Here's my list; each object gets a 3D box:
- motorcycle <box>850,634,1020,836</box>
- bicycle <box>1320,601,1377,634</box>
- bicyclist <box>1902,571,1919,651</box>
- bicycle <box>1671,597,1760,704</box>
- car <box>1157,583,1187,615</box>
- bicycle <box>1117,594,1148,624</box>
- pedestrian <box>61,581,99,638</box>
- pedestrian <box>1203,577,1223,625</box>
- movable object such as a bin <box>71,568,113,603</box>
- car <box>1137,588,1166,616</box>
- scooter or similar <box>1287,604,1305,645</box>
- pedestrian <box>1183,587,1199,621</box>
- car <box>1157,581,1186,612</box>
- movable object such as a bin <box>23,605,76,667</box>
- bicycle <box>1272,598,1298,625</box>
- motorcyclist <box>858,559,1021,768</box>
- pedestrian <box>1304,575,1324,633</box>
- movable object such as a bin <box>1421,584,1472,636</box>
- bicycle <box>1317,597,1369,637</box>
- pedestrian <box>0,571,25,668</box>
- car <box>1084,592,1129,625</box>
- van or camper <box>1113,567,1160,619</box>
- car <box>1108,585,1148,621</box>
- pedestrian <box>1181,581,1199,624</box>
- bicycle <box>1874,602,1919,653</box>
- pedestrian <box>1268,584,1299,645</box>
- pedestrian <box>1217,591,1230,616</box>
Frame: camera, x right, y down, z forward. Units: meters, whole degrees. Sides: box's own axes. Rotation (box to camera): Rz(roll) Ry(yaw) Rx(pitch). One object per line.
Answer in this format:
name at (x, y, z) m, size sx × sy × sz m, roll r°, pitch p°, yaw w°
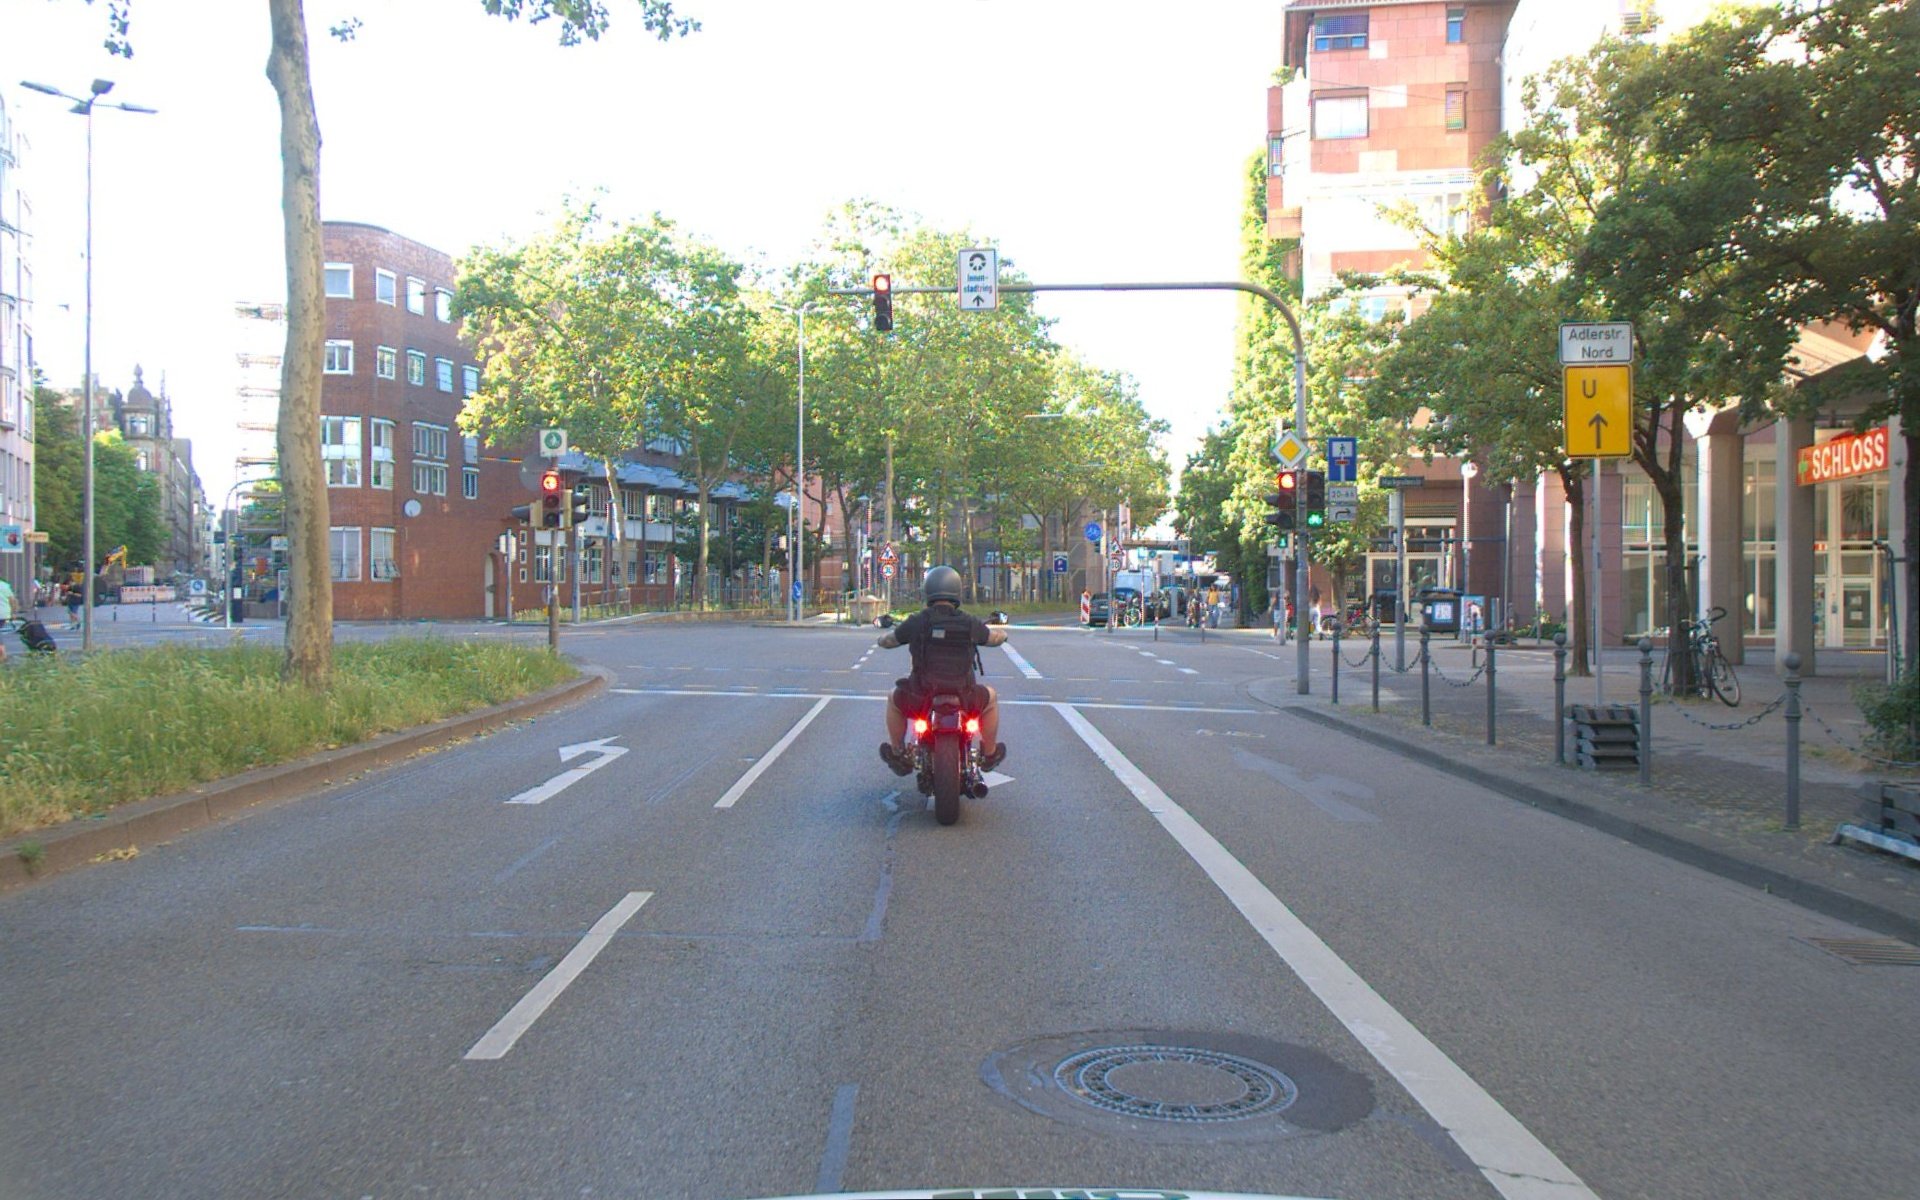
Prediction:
motorcycle at (-0.127, 0.817, 10.732) m, size 0.997 × 1.116 × 2.008 m, roll 0°, pitch 1°, yaw 1°
bicycle at (12.878, 0.570, 54.843) m, size 1.713 × 1.071 × 0.738 m, roll 0°, pitch 0°, yaw 28°
bicyclist at (22.034, 0.242, 37.649) m, size 0.807 × 1.801 × 0.789 m, roll 0°, pitch 0°, yaw 8°
bicycle at (9.384, 0.599, 20.601) m, size 0.608 × 1.247 × 1.928 m, roll 0°, pitch 0°, yaw 12°
car at (13.857, -0.093, 108.043) m, size 1.796 × 2.049 × 4.392 m, roll 0°, pitch 0°, yaw 9°
bicycle at (6.337, 0.320, 60.824) m, size 0.723 × 1.071 × 1.748 m, roll 0°, pitch 0°, yaw -9°
pedestrian at (-29.718, 0.306, 55.864) m, size 0.837 × 1.902 × 0.752 m, roll 0°, pitch 0°, yaw 1°
pedestrian at (9.551, 0.034, 62.404) m, size 0.685 × 1.764 × 0.768 m, roll 0°, pitch 0°, yaw 3°
movable object such as a bin at (-59.219, -1.012, 112.891) m, size 1.894 × 2.351 × 2.777 m, roll 0°, pitch 0°, yaw -15°
car at (11.238, 0.097, 96.999) m, size 1.585 × 1.638 × 3.777 m, roll 0°, pitch 0°, yaw 8°
scooter or similar at (9.919, 0.711, 48.828) m, size 0.386 × 1.178 × 1.250 m, roll 0°, pitch 0°, yaw 6°
pedestrian at (11.499, 0.192, 82.232) m, size 0.746 × 1.673 × 0.547 m, roll 0°, pitch 0°, yaw 3°
car at (14.568, -0.239, 113.698) m, size 1.796 × 2.049 × 4.392 m, roll 0°, pitch 0°, yaw 9°
movable object such as a bin at (-14.600, 0.568, 26.529) m, size 0.499 × 0.970 × 0.540 m, roll 0°, pitch 0°, yaw 13°
bicycle at (11.812, 0.411, 60.103) m, size 0.721 × 0.956 × 1.753 m, roll 0°, pitch 0°, yaw 4°
motorcyclist at (-0.118, 0.399, 10.860) m, size 0.991 × 1.285 × 0.774 m, roll 2°, pitch 1°, yaw 2°
pedestrian at (10.403, 0.115, 48.631) m, size 0.450 × 1.702 × 0.680 m, roll 0°, pitch 0°, yaw -2°
movable object such as a bin at (14.478, 0.288, 49.235) m, size 1.380 × 1.508 × 0.872 m, roll 0°, pitch 0°, yaw 11°
bicycle at (11.984, 0.527, 51.820) m, size 1.534 × 1.248 × 0.578 m, roll 0°, pitch 0°, yaw 6°
pedestrian at (-15.312, 0.306, 26.273) m, size 0.605 × 1.530 × 0.535 m, roll 0°, pitch 0°, yaw 13°
car at (5.985, 0.326, 67.331) m, size 1.585 × 1.325 × 4.315 m, roll 0°, pitch 0°, yaw 8°
van or camper at (8.995, -0.360, 84.027) m, size 2.005 × 2.585 × 5.778 m, roll 0°, pitch 0°, yaw 10°
car at (7.905, 0.120, 77.462) m, size 1.585 × 1.647 × 4.489 m, roll 0°, pitch 0°, yaw 9°
pedestrian at (8.699, 0.098, 62.486) m, size 0.630 × 1.606 × 0.748 m, roll 0°, pitch 0°, yaw 4°
bicycle at (21.980, 0.617, 37.660) m, size 1.874 × 1.132 × 0.804 m, roll 0°, pitch 0°, yaw 8°
pedestrian at (9.557, 0.426, 48.839) m, size 0.770 × 1.794 × 0.609 m, roll 0°, pitch 0°, yaw -6°
pedestrian at (15.959, 0.195, 100.122) m, size 0.749 × 1.470 × 0.781 m, roll 1°, pitch 0°, yaw 8°
